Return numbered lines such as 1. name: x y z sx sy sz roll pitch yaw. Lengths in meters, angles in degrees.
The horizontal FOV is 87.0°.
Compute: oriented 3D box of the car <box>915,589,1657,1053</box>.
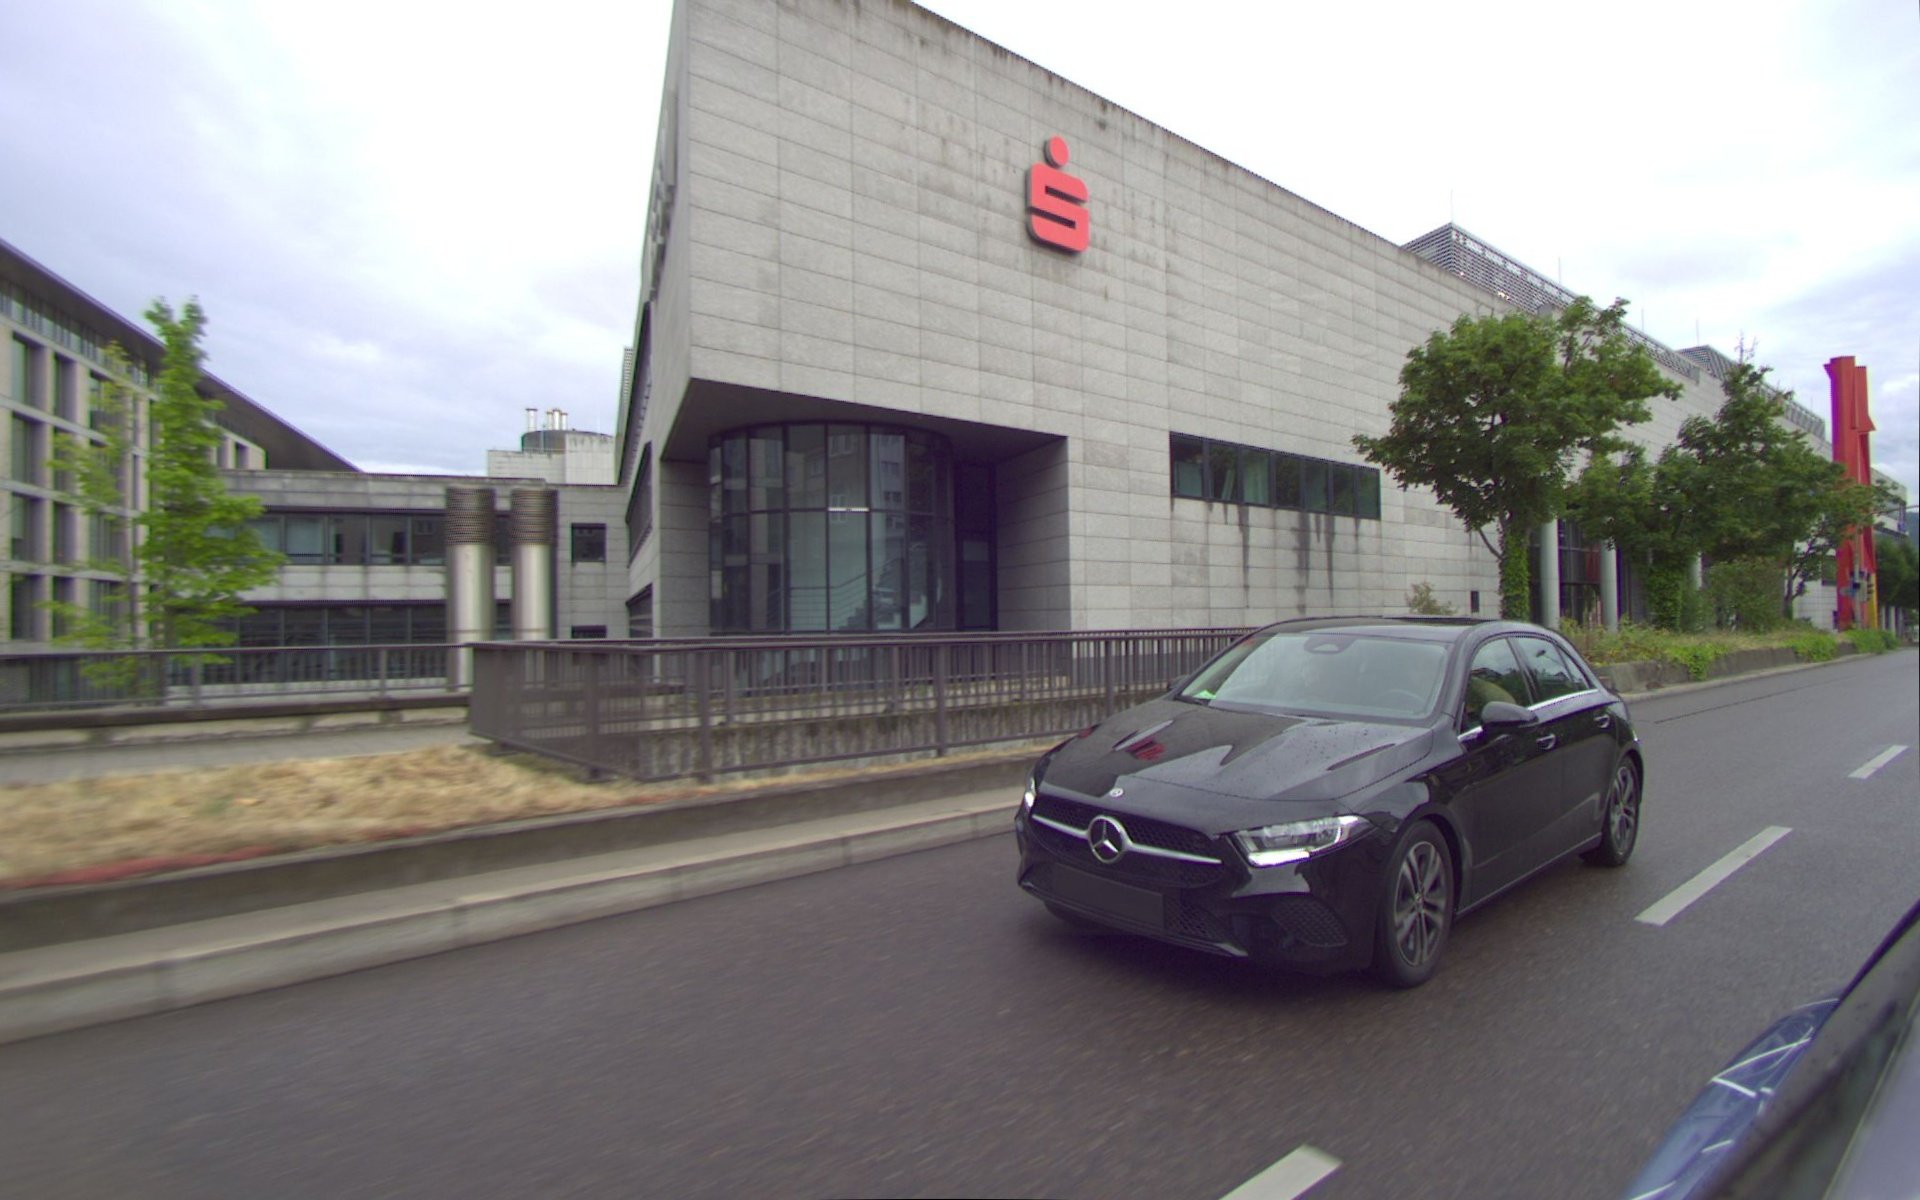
1. car: 1.955 0.695 5.319 4.133 1.455 1.875 -1 0 -42
